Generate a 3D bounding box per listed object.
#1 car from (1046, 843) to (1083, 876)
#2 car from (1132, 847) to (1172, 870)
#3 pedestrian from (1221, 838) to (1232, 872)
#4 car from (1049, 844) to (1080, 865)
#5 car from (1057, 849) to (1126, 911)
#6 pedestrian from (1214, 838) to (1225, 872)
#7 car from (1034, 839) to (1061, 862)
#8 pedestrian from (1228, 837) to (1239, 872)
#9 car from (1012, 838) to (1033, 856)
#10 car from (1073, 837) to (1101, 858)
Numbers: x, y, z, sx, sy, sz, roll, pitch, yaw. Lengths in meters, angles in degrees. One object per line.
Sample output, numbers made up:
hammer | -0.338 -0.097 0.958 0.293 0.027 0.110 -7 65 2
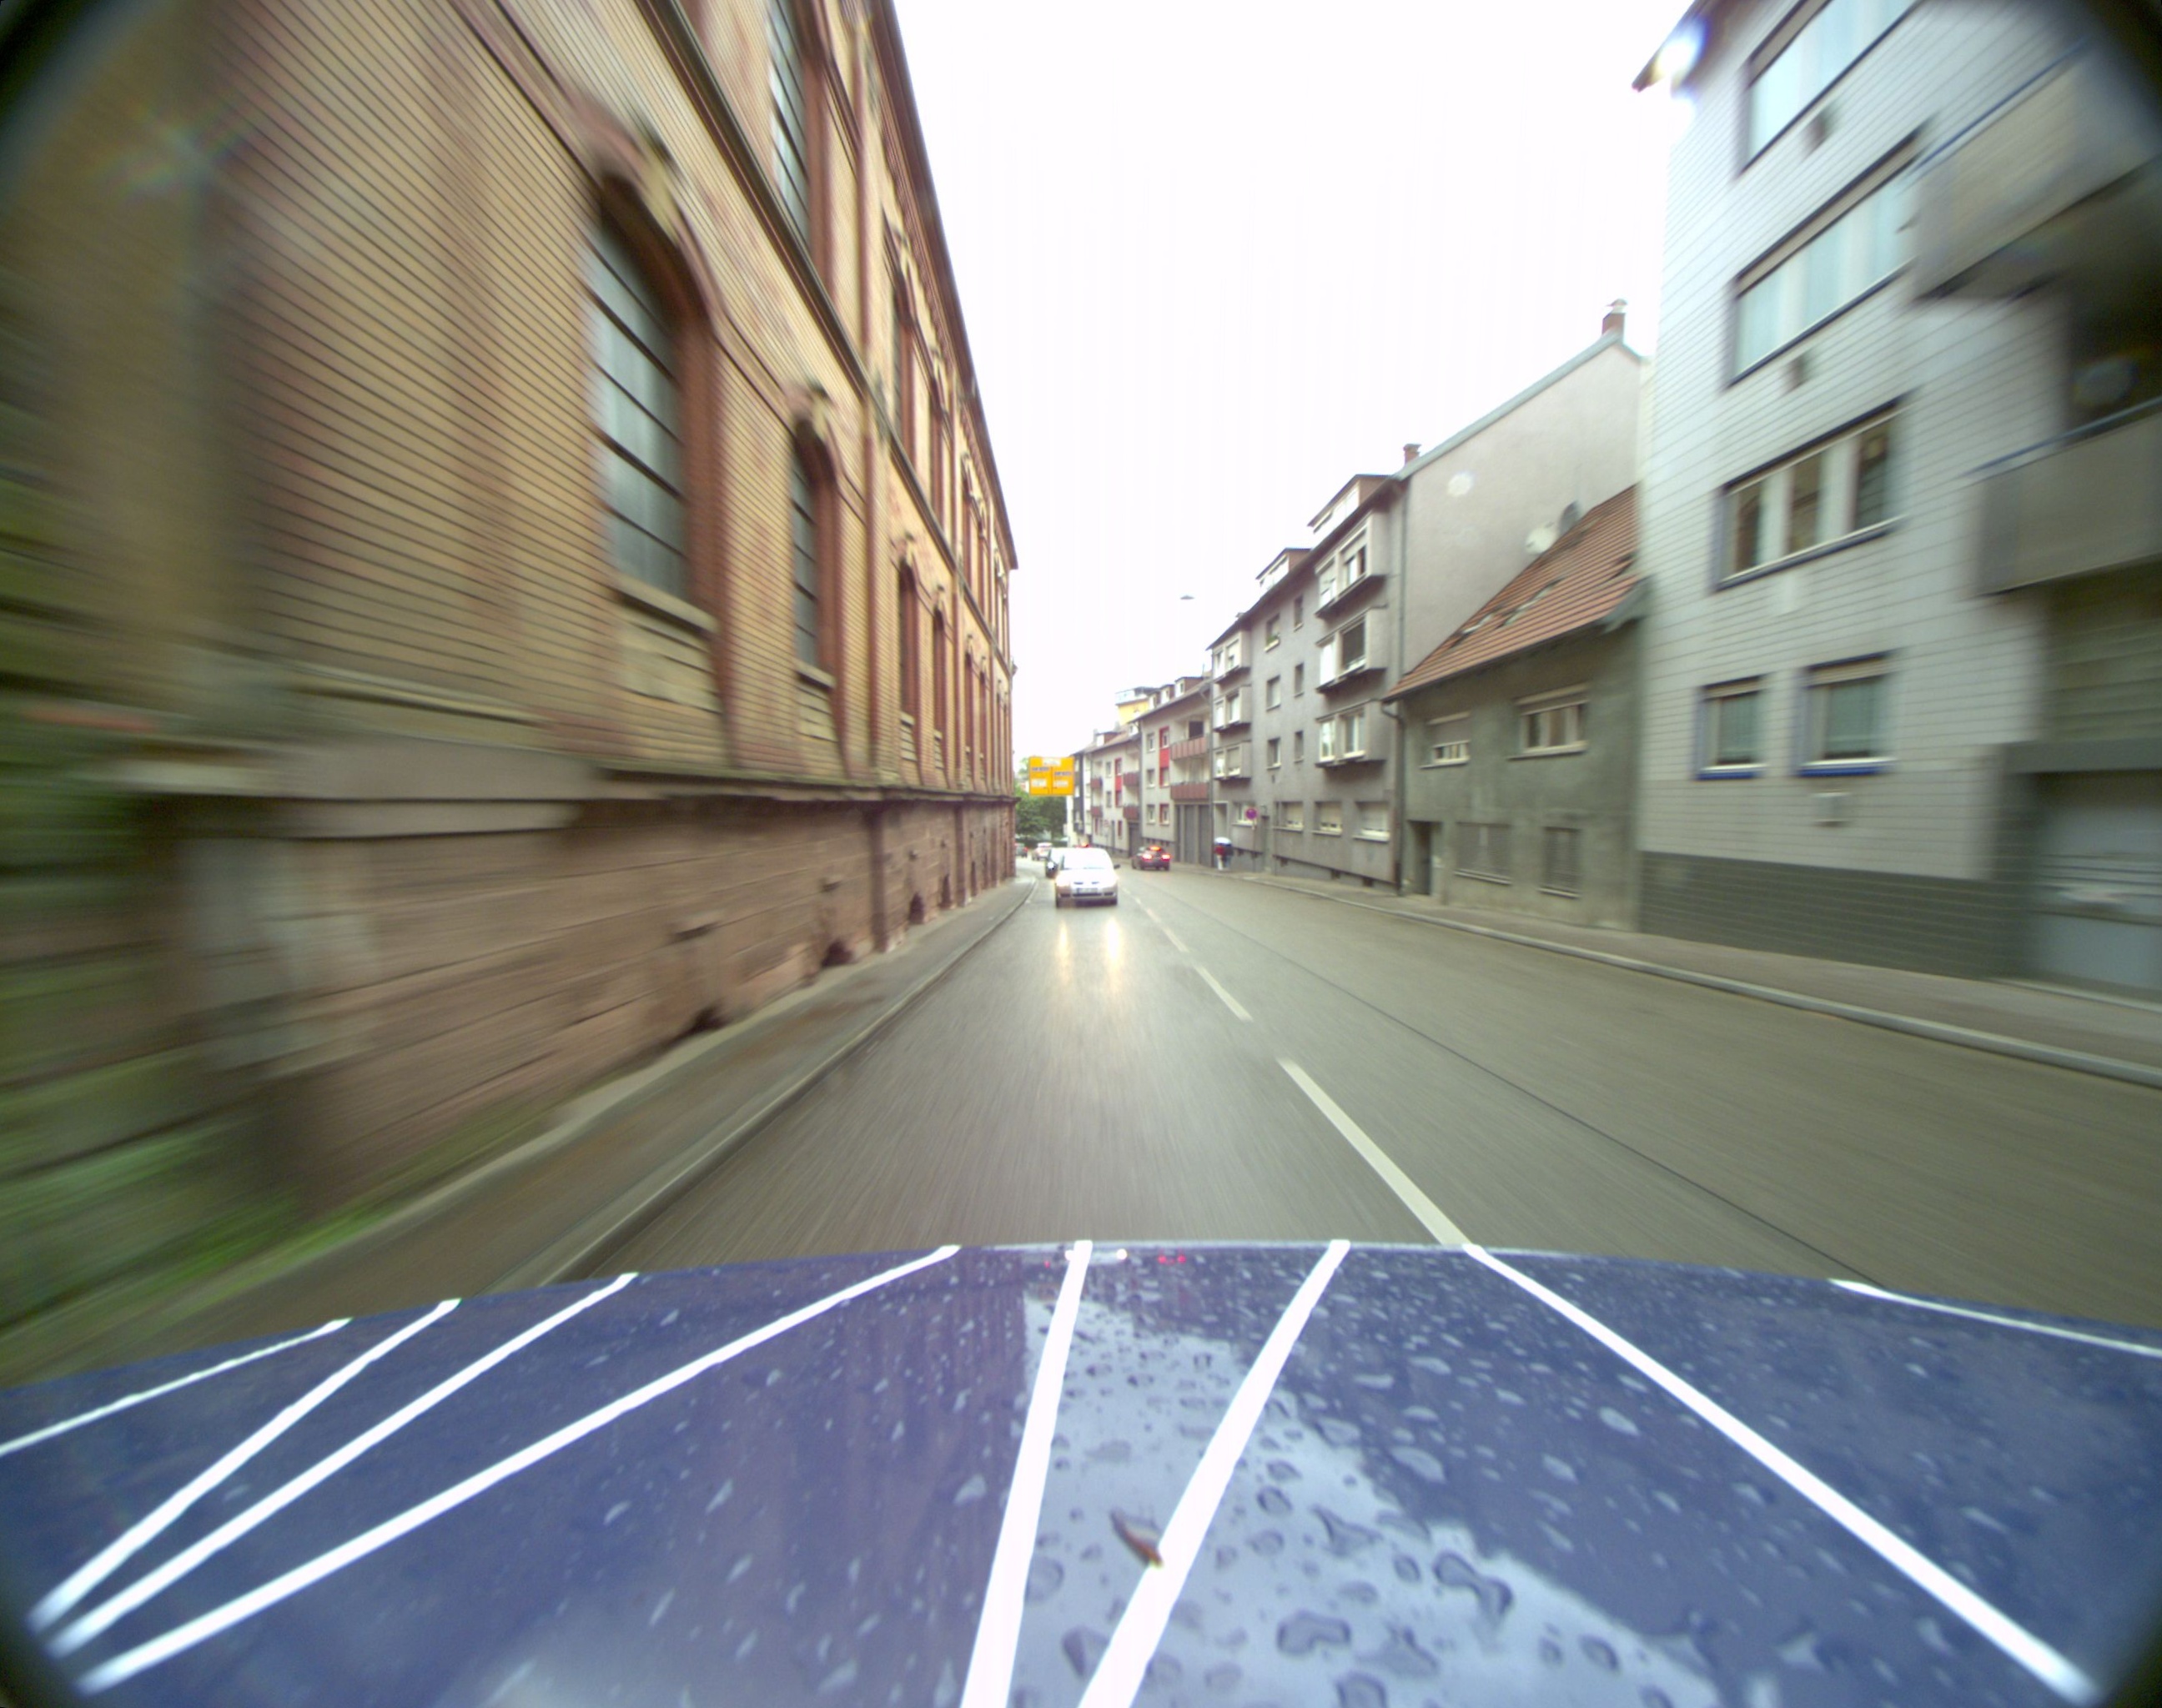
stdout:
car | -0.819 0.250 38.456 1.720 1.527 3.999 -2 1 -1
car | 4.177 0.233 45.064 1.714 1.316 3.369 1 0 -5
pedestrian | 7.626 0.042 39.849 0.381 1.770 0.500 -2 1 -9
car | -1.337 0.041 58.974 1.721 1.527 3.996 -2 1 -11
car | 0.270 0.655 21.505 1.720 1.527 3.999 -2 1 0
pedestrian | 7.239 0.058 39.788 0.387 1.770 0.500 -2 1 -9
car | -3.191 -0.337 71.533 2.000 2.002 3.996 -2 1 -10
pedestrian | 7.998 0.027 39.899 0.355 1.770 0.500 -2 1 -9
car | -6.738 -0.775 87.707 2.000 2.002 3.996 -2 1 -10
car | 0.487 -0.586 68.455 1.835 1.694 4.073 -2 1 -8
